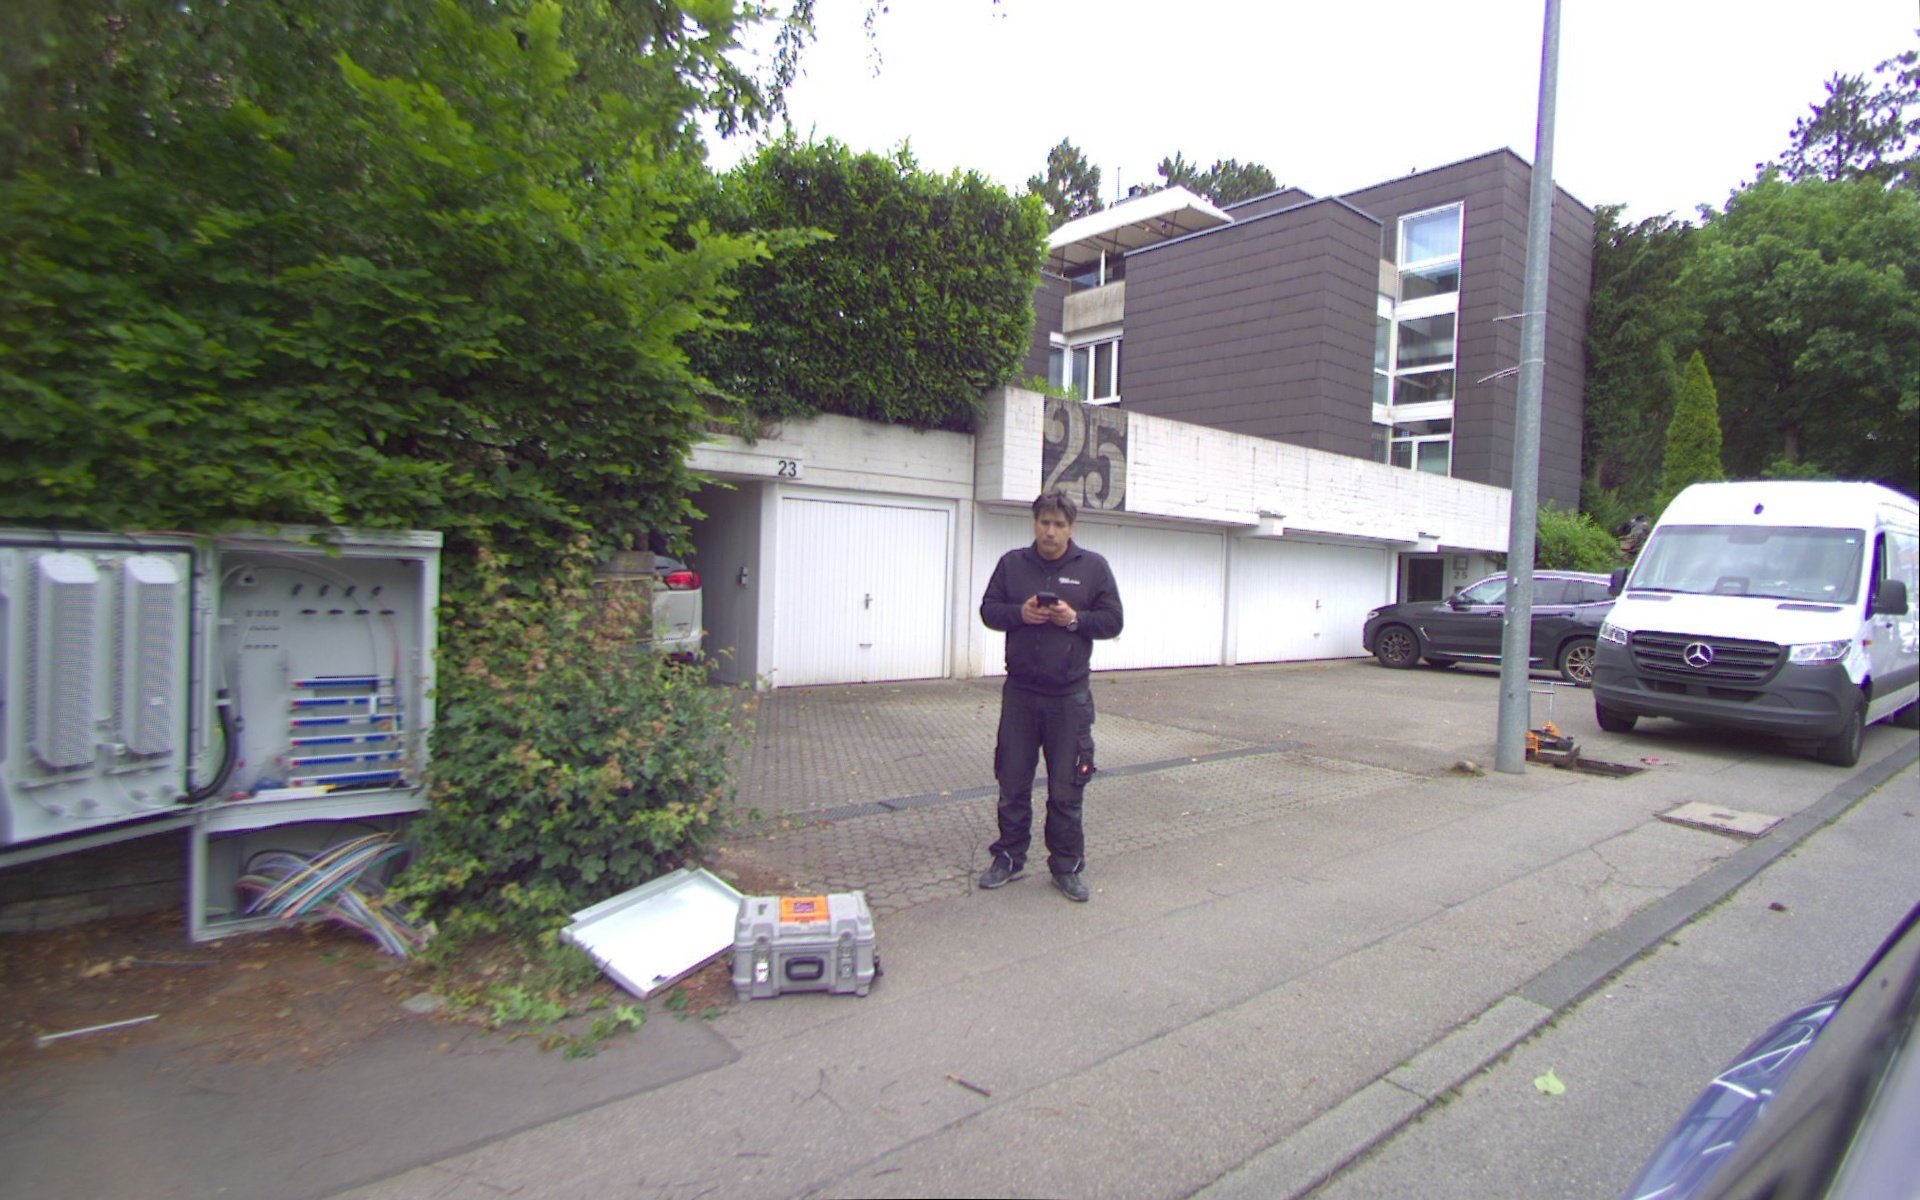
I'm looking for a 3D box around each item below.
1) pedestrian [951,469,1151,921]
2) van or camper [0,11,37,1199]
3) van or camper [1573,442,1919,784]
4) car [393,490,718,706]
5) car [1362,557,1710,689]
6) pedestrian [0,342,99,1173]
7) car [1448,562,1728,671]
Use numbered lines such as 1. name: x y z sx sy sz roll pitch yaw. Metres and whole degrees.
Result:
1. pedestrian: 0.406 0.358 4.403 0.644 1.773 0.648 1 2 29
2. van or camper: -4.693 -0.038 0.265 6.490 2.523 2.345 -2 6 -42
3. van or camper: 8.873 0.000 10.685 6.428 2.656 1.996 -1 5 -40
4. car: -4.386 -0.130 10.609 1.965 1.810 3.996 0 3 -41
5. car: 8.793 0.230 15.824 1.665 1.695 4.394 0 3 -39
6. pedestrian: -2.367 0.334 1.966 0.775 1.741 0.754 2 3 -8
7. car: 11.213 0.201 18.315 1.712 1.671 3.914 0 3 -36
